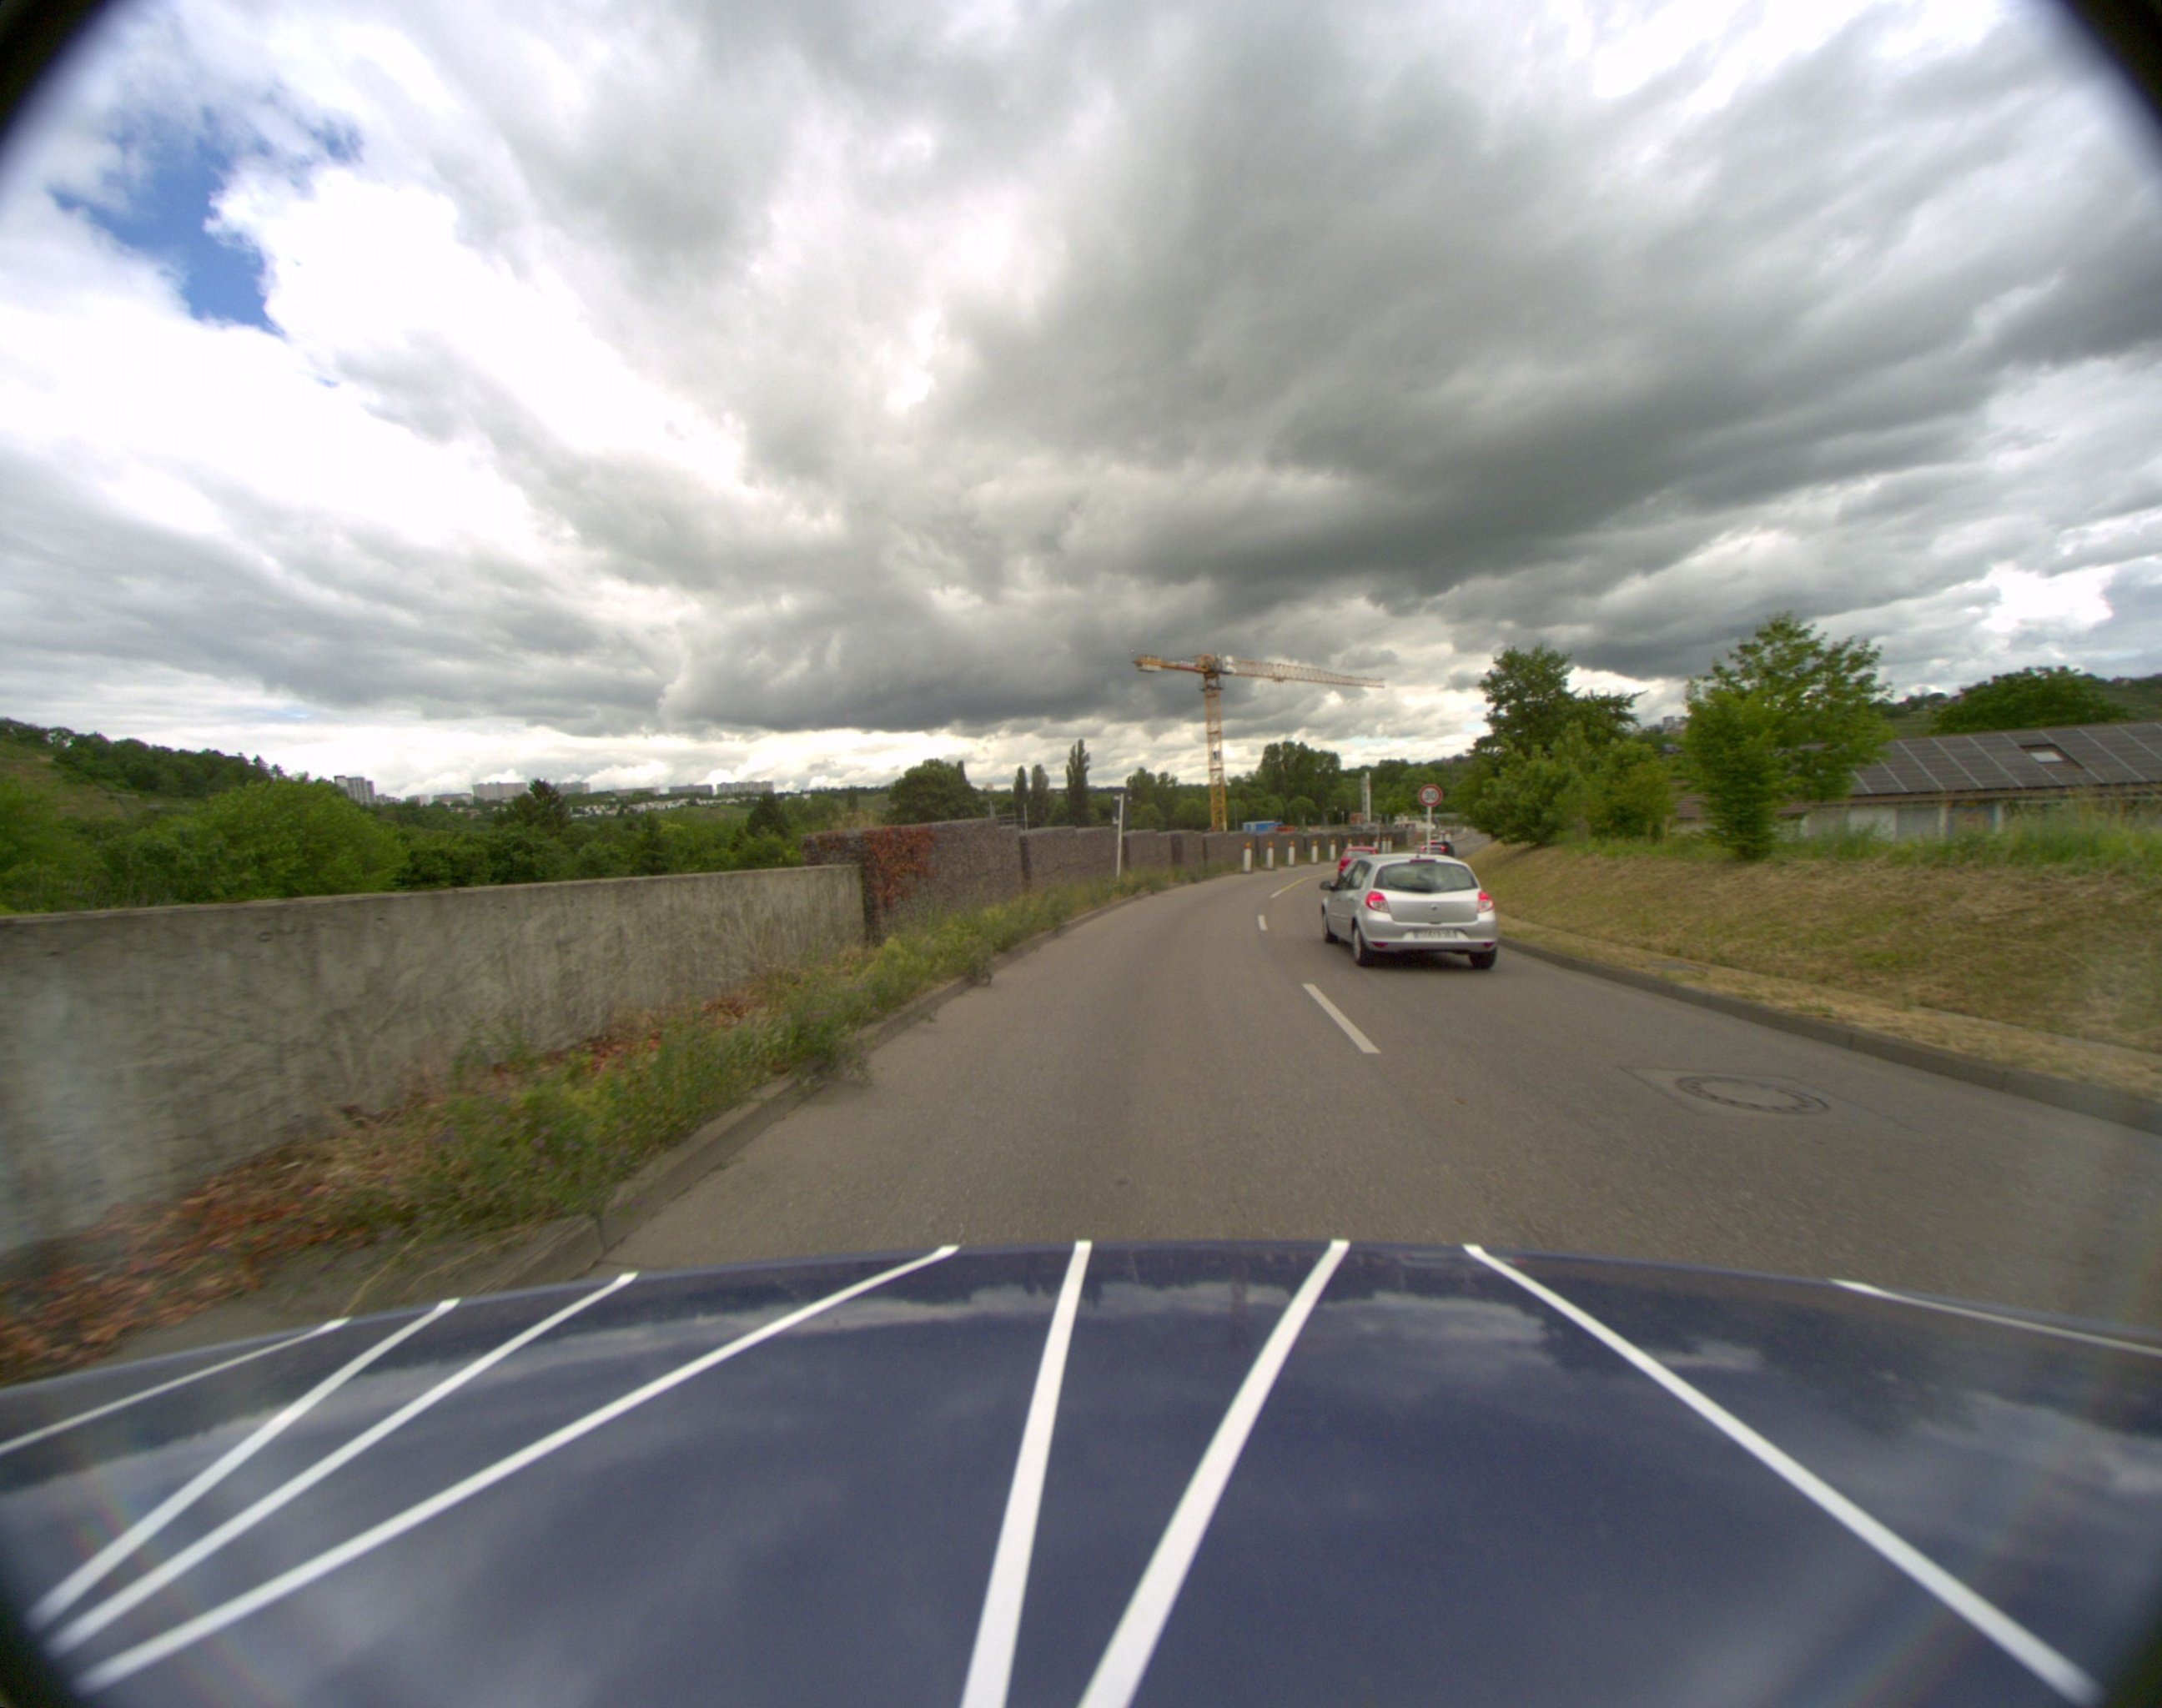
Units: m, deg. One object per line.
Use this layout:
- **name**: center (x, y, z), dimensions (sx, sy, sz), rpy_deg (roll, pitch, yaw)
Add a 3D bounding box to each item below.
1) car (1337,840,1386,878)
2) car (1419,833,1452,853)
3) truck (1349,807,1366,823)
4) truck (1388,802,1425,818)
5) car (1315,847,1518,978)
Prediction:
- **car**: center (12.094, 0.153, 32.638), dimensions (1.742, 1.409, 3.758), rpy_deg (2, 3, 23)
- **car**: center (26.830, -0.812, 57.431), dimensions (1.882, 1.469, 4.610), rpy_deg (2, 1, 30)
- **truck**: center (70.892, -10.077, 194.963), dimensions (3.036, 3.877, 10.008), rpy_deg (-3, 3, 15)
- **truck**: center (71.471, -9.645, 167.084), dimensions (2.762, 3.240, 7.595), rpy_deg (-5, 3, -21)
- **car**: center (4.591, 0.677, 11.034), dimensions (1.777, 1.487, 3.916), rpy_deg (0, 1, 9)
